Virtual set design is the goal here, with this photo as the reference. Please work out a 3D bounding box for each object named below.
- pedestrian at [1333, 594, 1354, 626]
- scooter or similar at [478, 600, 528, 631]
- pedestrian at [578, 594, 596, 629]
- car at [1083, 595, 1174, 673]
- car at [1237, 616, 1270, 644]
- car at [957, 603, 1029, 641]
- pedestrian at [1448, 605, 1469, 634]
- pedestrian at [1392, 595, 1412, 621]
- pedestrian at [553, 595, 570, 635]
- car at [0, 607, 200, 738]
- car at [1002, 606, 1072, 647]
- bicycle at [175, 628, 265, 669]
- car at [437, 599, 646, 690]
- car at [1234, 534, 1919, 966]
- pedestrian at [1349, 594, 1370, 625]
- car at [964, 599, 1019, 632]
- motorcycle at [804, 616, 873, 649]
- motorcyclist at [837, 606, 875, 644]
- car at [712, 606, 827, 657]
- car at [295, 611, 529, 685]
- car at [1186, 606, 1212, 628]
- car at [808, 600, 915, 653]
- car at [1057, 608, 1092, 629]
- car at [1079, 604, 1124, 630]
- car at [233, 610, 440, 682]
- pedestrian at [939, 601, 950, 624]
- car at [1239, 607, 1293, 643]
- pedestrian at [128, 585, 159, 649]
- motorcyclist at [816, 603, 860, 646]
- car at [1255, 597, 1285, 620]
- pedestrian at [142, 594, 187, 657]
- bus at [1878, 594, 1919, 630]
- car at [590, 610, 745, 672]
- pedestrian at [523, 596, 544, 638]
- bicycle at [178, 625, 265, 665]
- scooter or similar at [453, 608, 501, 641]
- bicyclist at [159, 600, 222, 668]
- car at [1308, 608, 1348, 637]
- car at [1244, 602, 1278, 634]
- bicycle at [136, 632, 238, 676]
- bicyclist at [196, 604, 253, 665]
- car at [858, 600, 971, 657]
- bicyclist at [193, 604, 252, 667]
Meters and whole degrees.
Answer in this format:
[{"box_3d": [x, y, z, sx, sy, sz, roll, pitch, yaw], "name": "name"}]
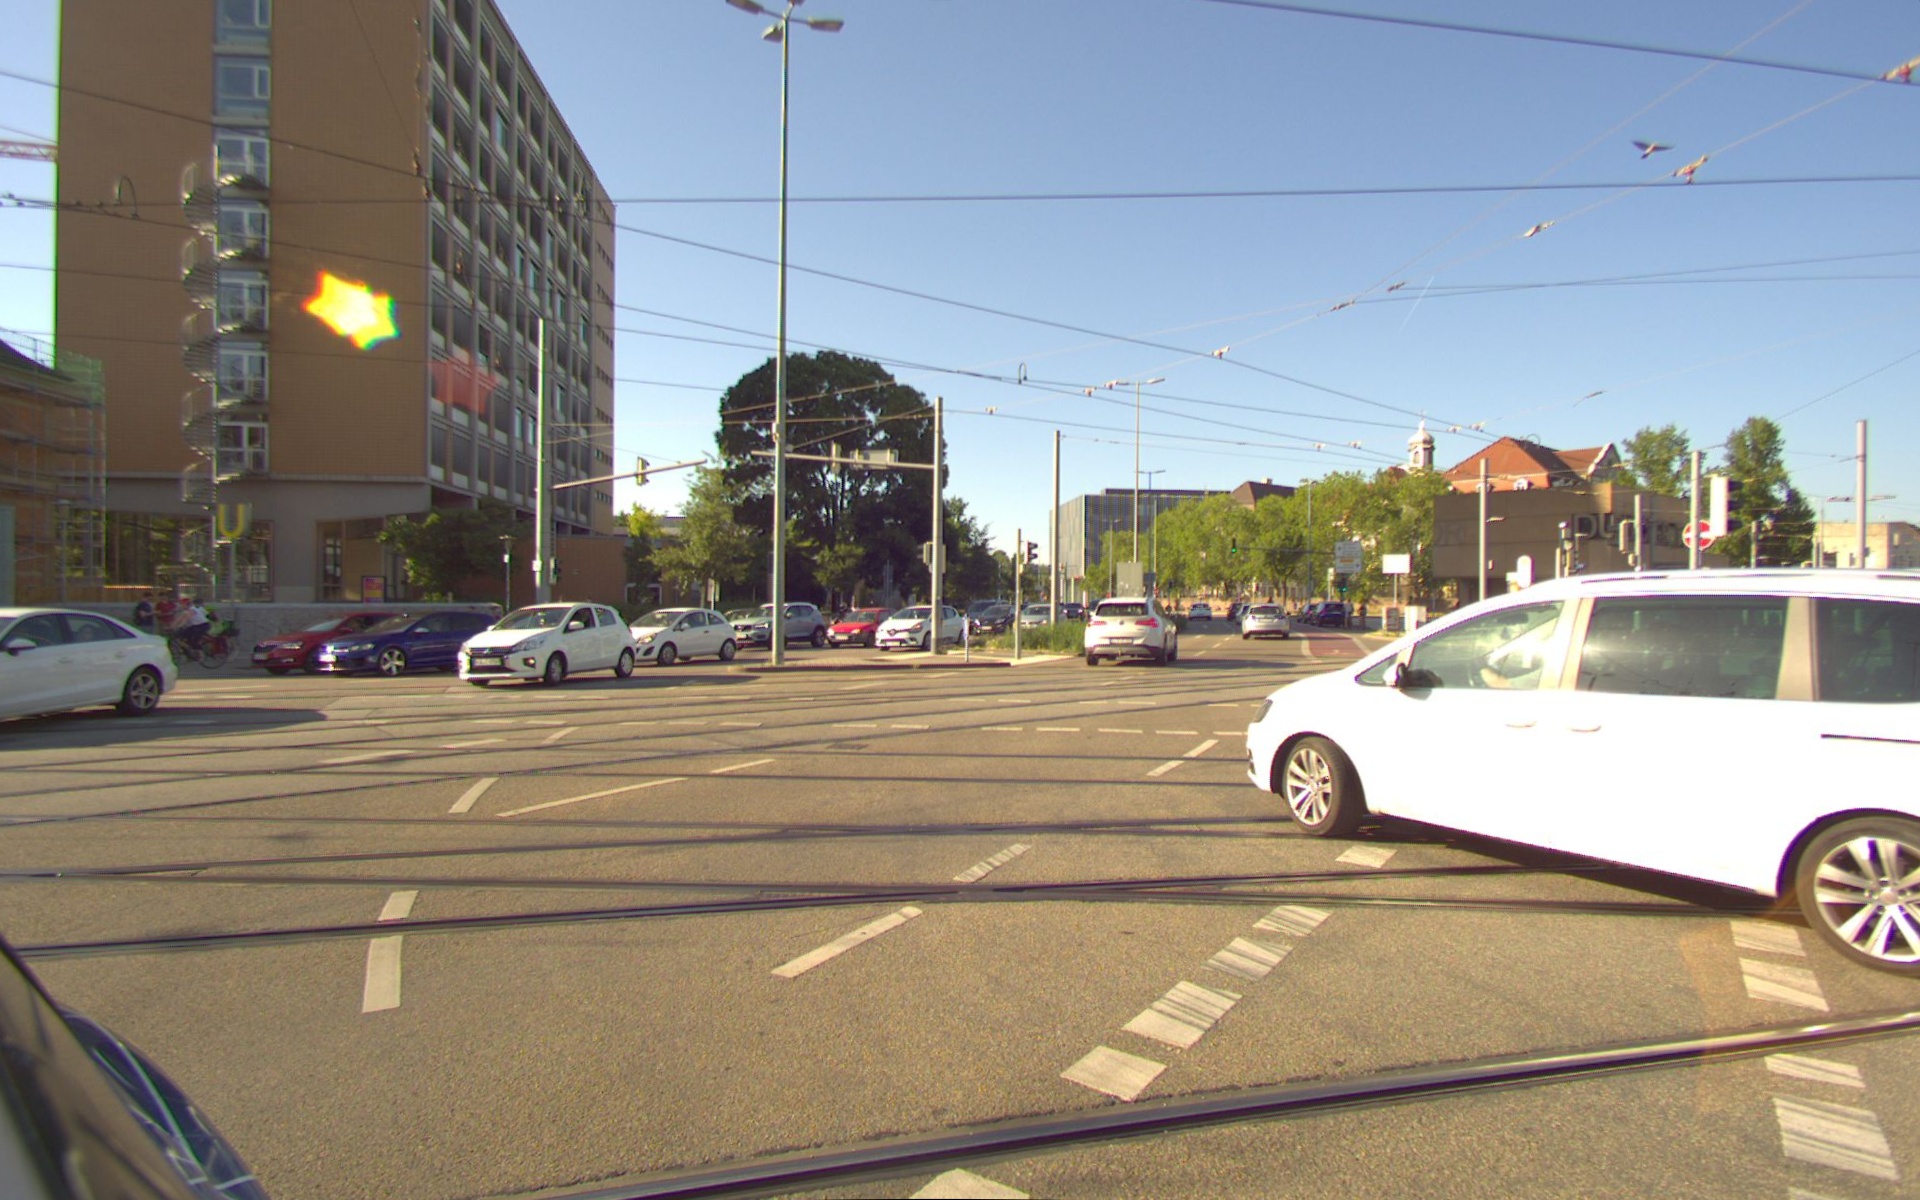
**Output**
[{"box_3d": [22.387, 0.600, 59.036, 0.794, 1.782, 0.962, -2, -2, 4], "name": "pedestrian"}, {"box_3d": [-19.248, 0.659, 42.650, 1.799, 1.256, 0.802, -1, -2, -35], "name": "scooter or similar"}, {"box_3d": [-17.945, 0.556, 48.696, 0.568, 1.648, 0.502, -3, -2, 14], "name": "pedestrian"}, {"box_3d": [4.355, 0.792, 25.573, 1.923, 1.760, 4.602, 1, -1, 14], "name": "car"}, {"box_3d": [19.137, 1.930, 66.021, 1.841, 1.642, 3.852, -4, -1, 15], "name": "car"}, {"box_3d": [1.618, 1.032, 48.224, 1.988, 1.697, 3.966, -3, -2, 25], "name": "car"}, {"box_3d": [31.612, 1.249, 64.188, 0.959, 1.782, 0.805, -1, -2, -44], "name": "pedestrian"}, {"box_3d": [28.589, 0.531, 65.469, 0.794, 1.579, 1.178, -2, -2, 4], "name": "pedestrian"}, {"box_3d": [-16.677, 0.619, 42.366, 0.423, 1.648, 0.502, -3, -2, 14], "name": "pedestrian"}, {"box_3d": [-11.432, 0.807, 11.799, 1.801, 1.398, 4.457, 0, 0, 0], "name": "car"}, {"box_3d": [3.452, 1.113, 44.381, 1.985, 1.689, 4.254, 0, 0, 20], "name": "car"}, {"box_3d": [-19.492, 1.258, 26.711, 0.705, 0.977, 1.871, 3, 0, 14], "name": "bicycle"}, {"box_3d": [-7.629, 0.783, 18.858, 1.704, 1.504, 3.854, -1, -1, 13], "name": "car"}, {"box_3d": [3.940, 0.610, 5.707, 1.909, 1.747, 4.476, 0, 0, -34], "name": "car"}, {"box_3d": [23.228, 0.563, 58.904, 0.794, 1.782, 0.972, -2, -2, 4], "name": "pedestrian"}, {"box_3d": [1.760, 0.841, 54.900, 1.810, 1.741, 3.972, 0, -1, 21], "name": "car"}, {"box_3d": [-4.876, 1.303, 40.823, 1.113, 1.204, 3.202, -3, -2, 28], "name": "motorcycle"}, {"box_3d": [-4.825, 1.145, 46.961, 1.113, 1.680, 1.440, -3, -2, 28], "name": "motorcyclist"}, {"box_3d": [-6.579, 1.063, 35.409, 1.989, 1.618, 3.965, -1, 0, 26], "name": "car"}, {"box_3d": [-12.491, 1.027, 23.443, 1.808, 1.504, 4.613, 0, 0, 26], "name": "car"}, {"box_3d": [19.438, 1.389, 82.235, 1.841, 1.642, 3.852, -4, -1, 14], "name": "car"}, {"box_3d": [-3.439, 0.928, 36.044, 1.989, 1.697, 3.966, -3, -2, 25], "name": "car"}, {"box_3d": [10.081, 1.606, 89.102, 1.985, 1.697, 4.676, -3, -2, 20], "name": "car"}, {"box_3d": [10.045, 1.227, 71.565, 1.986, 1.697, 4.673, -3, -2, 22], "name": "car"}, {"box_3d": [-14.984, 1.058, 24.550, 1.745, 1.475, 3.987, -1, 0, 24], "name": "car"}, {"box_3d": [-1.138, 0.919, 73.727, 0.561, 1.674, 0.588, -3, -2, 21], "name": "pedestrian"}, {"box_3d": [12.617, 1.010, 41.925, 1.829, 1.434, 4.413, -1, -1, 13], "name": "car"}, {"box_3d": [-22.475, 0.461, 27.863, 0.612, 1.752, 0.666, 2, 0, -41], "name": "pedestrian"}, {"box_3d": [-4.914, 0.975, 40.771, 1.113, 1.680, 1.440, -3, -2, 28], "name": "motorcyclist"}, {"box_3d": [24.198, 0.709, 79.135, 1.840, 1.642, 3.854, -4, -1, 13], "name": "car"}, {"box_3d": [-22.399, 0.710, 28.502, 0.617, 1.752, 0.729, 1, 0, 18], "name": "pedestrian"}, {"box_3d": [88.409, 0.898, 87.949, 3.195, 3.218, 12.700, -2, -2, -19], "name": "bus"}, {"box_3d": [-7.607, 1.018, 26.644, 1.775, 1.475, 3.880, 1, -1, 26], "name": "car"}, {"box_3d": [-17.816, 0.727, 42.292, 0.486, 1.724, 0.616, -4, -2, 41], "name": "pedestrian"}, {"box_3d": [-20.183, 1.212, 27.706, 0.705, 0.977, 1.872, 3, 0, 13], "name": "bicycle"}, {"box_3d": [-19.660, 0.987, 41.191, 1.678, 1.256, 0.802, -2, -2, -21], "name": "scooter or similar"}, {"box_3d": [-19.059, 0.837, 25.080, 0.691, 1.599, 1.007, 3, 0, 29], "name": "bicyclist"}, {"box_3d": [23.059, 1.385, 63.498, 1.847, 1.642, 4.018, -4, -1, 14], "name": "car"}, {"box_3d": [16.716, 0.985, 56.177, 1.707, 1.643, 3.848, -2, -1, 18], "name": "car"}, {"box_3d": [-19.103, 1.322, 25.056, 0.709, 0.977, 1.861, 3, 0, 29], "name": "bicycle"}, {"box_3d": [-20.169, 0.920, 27.766, 0.687, 1.599, 1.012, 3, 0, 14], "name": "bicyclist"}, {"box_3d": [-1.379, 0.863, 32.773, 1.988, 1.689, 4.248, 0, 0, 24], "name": "car"}, {"box_3d": [-19.463, 0.916, 26.723, 0.687, 1.599, 1.012, 3, 0, 14], "name": "bicyclist"}]
